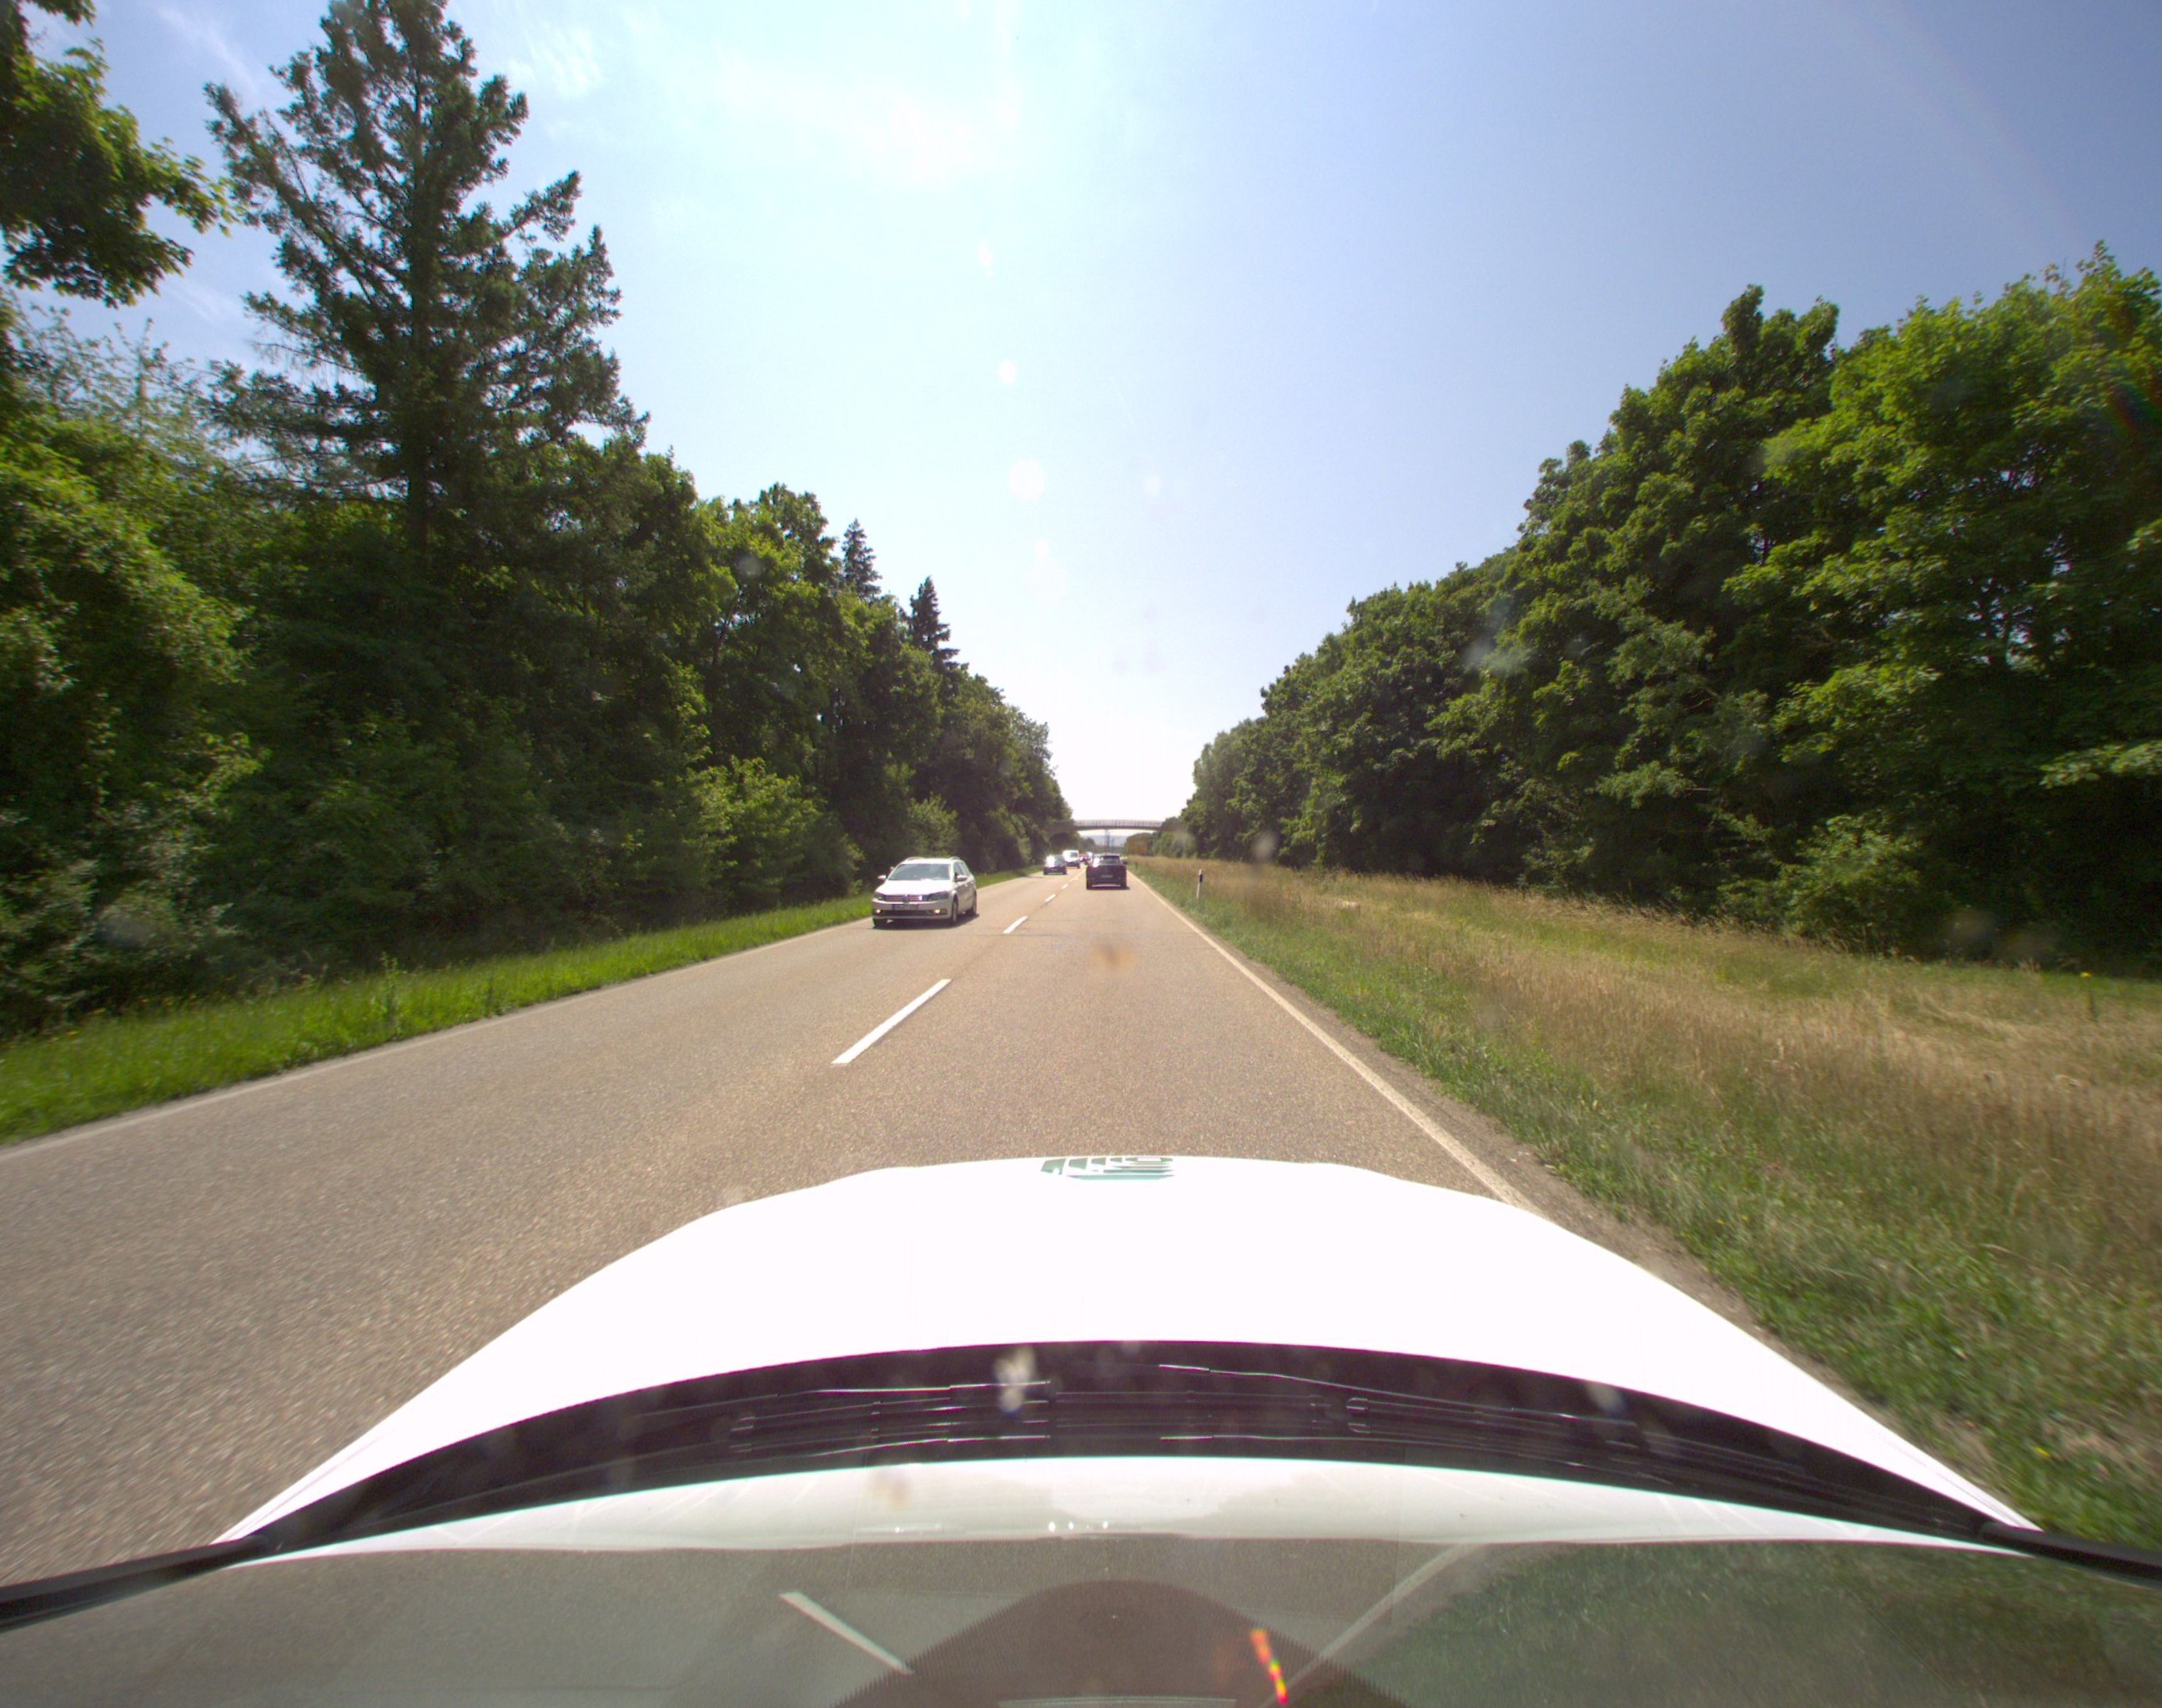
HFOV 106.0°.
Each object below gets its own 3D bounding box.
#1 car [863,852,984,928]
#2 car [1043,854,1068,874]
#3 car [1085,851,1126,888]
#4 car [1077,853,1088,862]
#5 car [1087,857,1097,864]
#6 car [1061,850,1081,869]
[{"bbox_3d":[-3.534,0.746,19.189,1.832,1.536,4.659,-1,0,1],"label":"car"},{"bbox_3d":[-1.931,0.752,62.506,1.666,1.518,4.001,0,0,1],"label":"car"},{"bbox_3d":[1.128,0.677,36.542,1.748,1.556,4.002,0,0,2],"label":"car"},{"bbox_3d":[0.262,0.569,143.121,1.676,1.493,4.002,-1,0,2],"label":"car"},{"bbox_3d":[2.299,1.386,169.135,1.776,1.449,4.113,-1,0,3],"label":"car"},{"bbox_3d":[-1.075,0.575,87.242,1.868,1.929,4.989,-1,0,2],"label":"car"}]
